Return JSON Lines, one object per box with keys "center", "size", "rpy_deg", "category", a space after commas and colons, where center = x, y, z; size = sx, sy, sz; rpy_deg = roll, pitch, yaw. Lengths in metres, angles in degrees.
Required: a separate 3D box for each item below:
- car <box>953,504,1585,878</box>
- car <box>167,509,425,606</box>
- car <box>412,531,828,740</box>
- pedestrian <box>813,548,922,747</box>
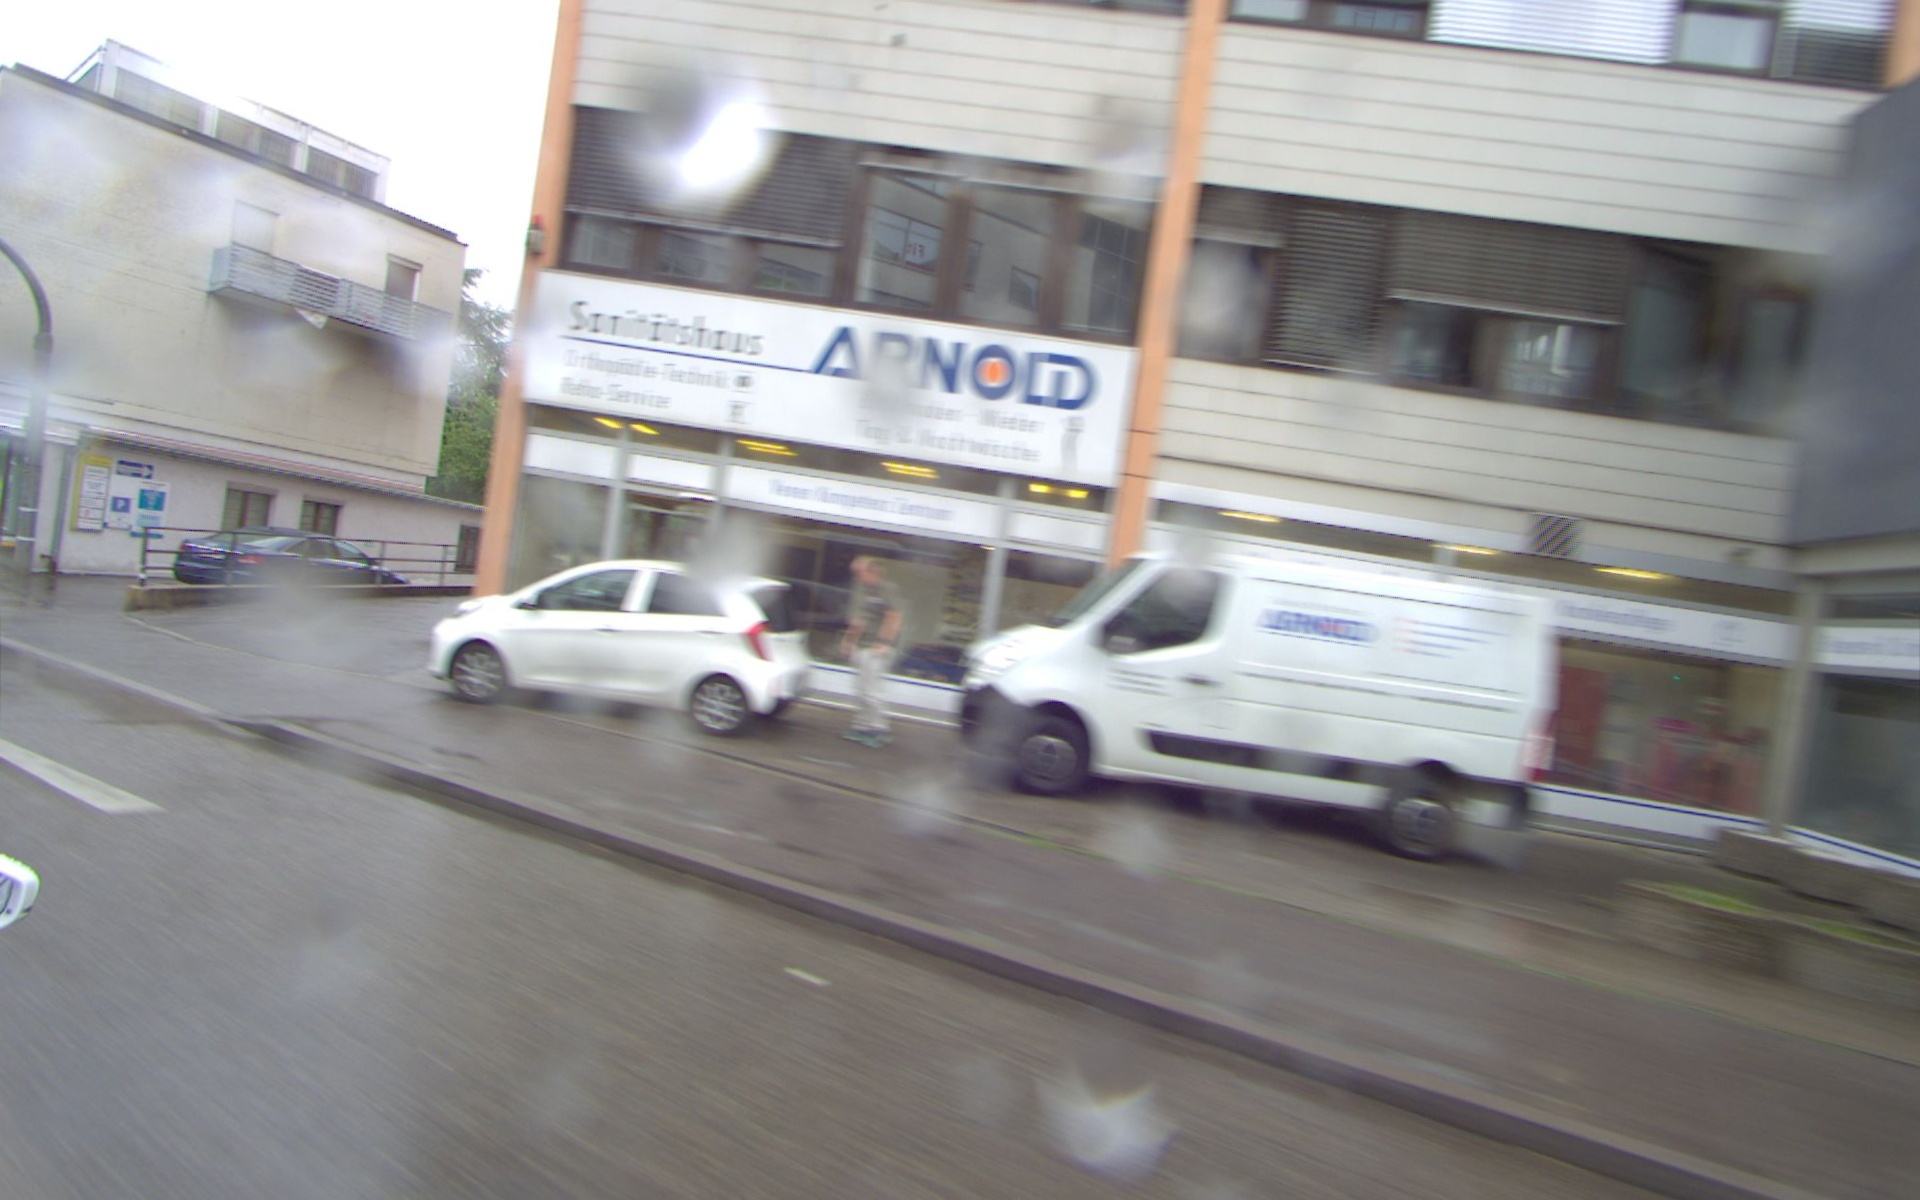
{"center": [2.497, 0.721, 9.140], "size": [4.787, 2.237, 2.005], "rpy_deg": [10, 2, 1], "category": "car"}
{"center": [-12.522, -0.716, 19.385], "size": [1.704, 1.429, 4.400], "rpy_deg": [7, 0, 4], "category": "car"}
{"center": [-3.198, 0.319, 9.821], "size": [3.358, 1.480, 1.617], "rpy_deg": [7, 0, 7], "category": "car"}
{"center": [-0.886, 0.452, 9.677], "size": [0.590, 1.789, 0.594], "rpy_deg": [9, 2, 29], "category": "pedestrian"}
